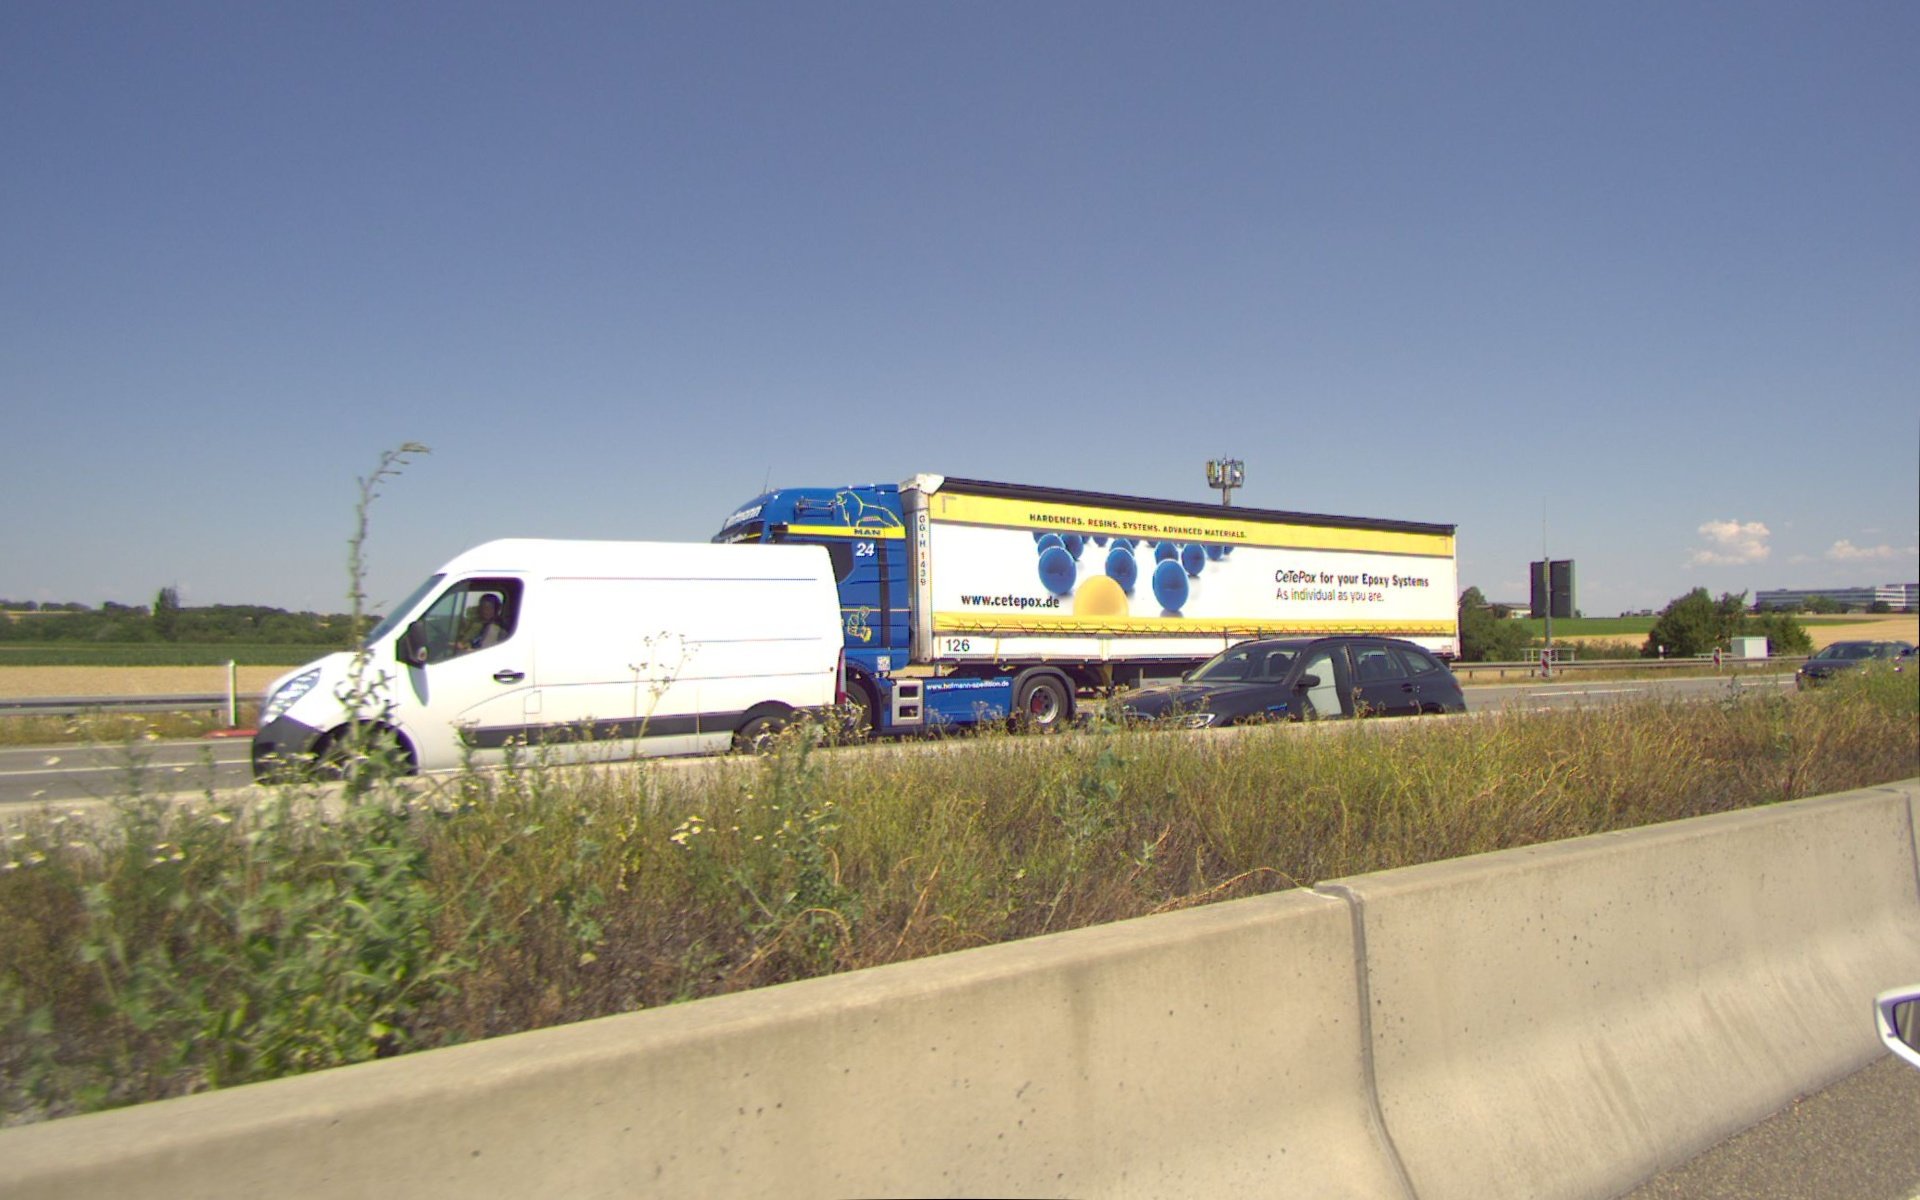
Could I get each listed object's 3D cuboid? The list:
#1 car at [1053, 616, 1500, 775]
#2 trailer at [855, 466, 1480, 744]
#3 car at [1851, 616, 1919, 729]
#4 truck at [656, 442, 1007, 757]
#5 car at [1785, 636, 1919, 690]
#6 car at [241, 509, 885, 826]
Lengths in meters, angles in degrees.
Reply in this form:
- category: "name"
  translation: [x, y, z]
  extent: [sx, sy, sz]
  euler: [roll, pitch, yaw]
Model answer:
- category: "car"
  translation: [3.503, 0.932, 10.772]
  extent: [4.873, 1.353, 1.770]
  euler: [2, -1, -31]
- category: "trailer"
  translation: [4.852, 0.223, 19.935]
  extent: [13.966, 4.182, 2.796]
  euler: [1, -2, -31]
- category: "car"
  translation: [19.462, 1.348, 19.409]
  extent: [4.629, 2.040, 1.985]
  euler: [1, -1, -30]
- category: "truck"
  translation: [-2.013, 0.065, 15.814]
  extent: [4.785, 4.182, 2.796]
  euler: [1, -2, -31]
- category: "car"
  translation: [24.112, 1.670, 26.901]
  extent: [4.383, 1.283, 1.739]
  euler: [2, -1, -31]
- category: "car"
  translation: [-3.790, 0.612, 10.415]
  extent: [5.745, 2.534, 2.037]
  euler: [1, -2, -31]
